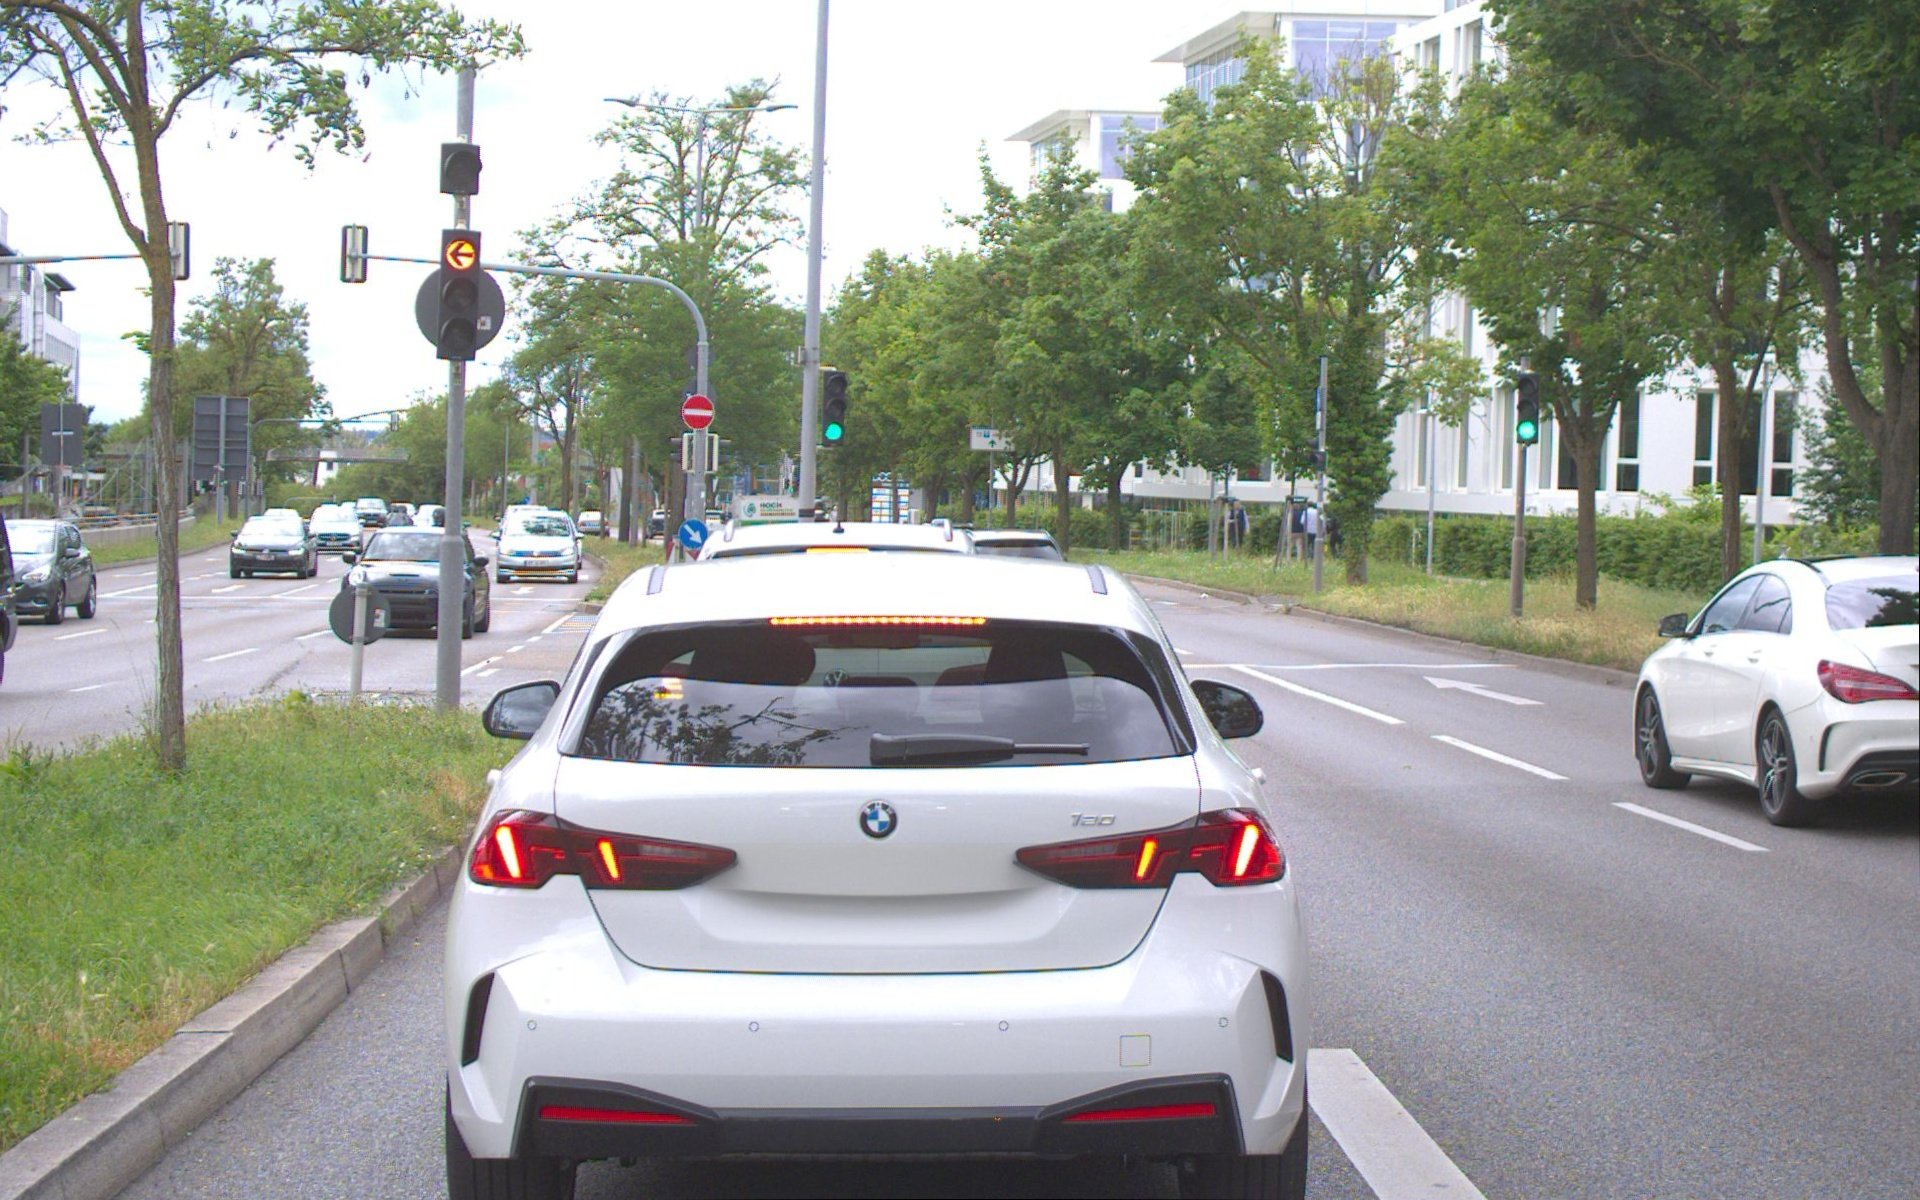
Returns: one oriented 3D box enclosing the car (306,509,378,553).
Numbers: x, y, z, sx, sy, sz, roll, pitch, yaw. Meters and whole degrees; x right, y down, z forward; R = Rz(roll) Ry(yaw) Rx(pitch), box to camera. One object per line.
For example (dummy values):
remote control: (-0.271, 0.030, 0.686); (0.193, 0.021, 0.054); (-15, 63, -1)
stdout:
car: (-20.173, -2.259, 112.352); (1.708, 1.414, 3.803); (0, 1, -1)

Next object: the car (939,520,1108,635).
car: (0.817, -0.354, 47.637); (2.053, 1.481, 4.974); (-1, 1, -2)

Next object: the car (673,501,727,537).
car: (-11.045, -3.441, 145.839); (1.993, 1.503, 4.001); (1, 1, -8)

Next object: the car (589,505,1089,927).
car: (-0.487, 0.447, 15.963); (1.993, 1.666, 4.000); (1, 1, 0)

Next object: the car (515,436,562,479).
car: (-21.350, -7.200, 174.338); (1.993, 2.004, 4.325); (3, 1, -3)

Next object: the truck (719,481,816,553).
truck: (-7.208, -3.054, 127.833); (2.858, 2.511, 6.289); (1, 1, -10)

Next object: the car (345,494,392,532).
car: (-31.688, -4.656, 184.241); (1.993, 2.004, 4.325); (1, 1, -3)

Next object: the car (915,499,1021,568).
car: (0.161, -1.626, 83.582); (1.993, 1.590, 4.001); (1, 1, -8)

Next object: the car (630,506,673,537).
car: (-15.628, -3.960, 174.174); (1.993, 1.485, 4.001); (2, 1, -3)

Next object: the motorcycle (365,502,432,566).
motorcycle: (-12.745, -1.510, 78.139); (0.889, 1.393, 4.000); (1, 1, -1)

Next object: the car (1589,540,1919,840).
car: (5.033, 0.431, 19.324); (1.793, 1.467, 4.700); (1, 1, -4)

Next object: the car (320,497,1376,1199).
car: (-0.145, 0.537, 8.147); (1.863, 1.444, 4.000); (1, 1, 2)

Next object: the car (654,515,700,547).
car: (-14.130, -3.446, 171.467); (1.993, 1.503, 4.001); (1, 1, -9)

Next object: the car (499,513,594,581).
car: (-9.287, -1.201, 77.450); (1.708, 1.492, 3.803); (0, 1, -1)

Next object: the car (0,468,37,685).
car: (-9.411, -0.195, 29.037); (1.935, 1.911, 4.974); (1, 1, -1)

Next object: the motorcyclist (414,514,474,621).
motorcyclist: (-9.049, -0.580, 60.324); (0.848, 1.830, 1.259); (1, 1, -1)

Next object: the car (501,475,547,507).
car: (-24.280, -6.074, 191.568); (1.993, 1.612, 4.000); (3, 1, -1)

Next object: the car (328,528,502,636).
car: (-7.208, -0.265, 45.741); (1.754, 1.366, 3.780); (0, 1, -1)

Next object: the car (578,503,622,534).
car: (-18.262, -4.130, 174.606); (1.993, 1.485, 4.001); (2, 1, -3)

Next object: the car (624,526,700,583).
car: (-7.751, -1.199, 89.672); (1.667, 1.400, 4.000); (1, 1, -1)

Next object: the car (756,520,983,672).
car: (-0.919, -0.062, 37.239); (1.994, 1.503, 3.999); (1, 1, 5)

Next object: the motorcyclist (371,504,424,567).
motorcyclist: (-12.749, -1.462, 77.965); (0.910, 1.387, 1.674); (1, 1, -1)

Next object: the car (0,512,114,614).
car: (-13.535, -0.555, 49.655); (1.708, 1.414, 4.019); (0, 1, -1)

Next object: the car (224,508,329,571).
car: (-15.734, -1.399, 79.281); (1.708, 1.414, 3.803); (0, 1, -1)
